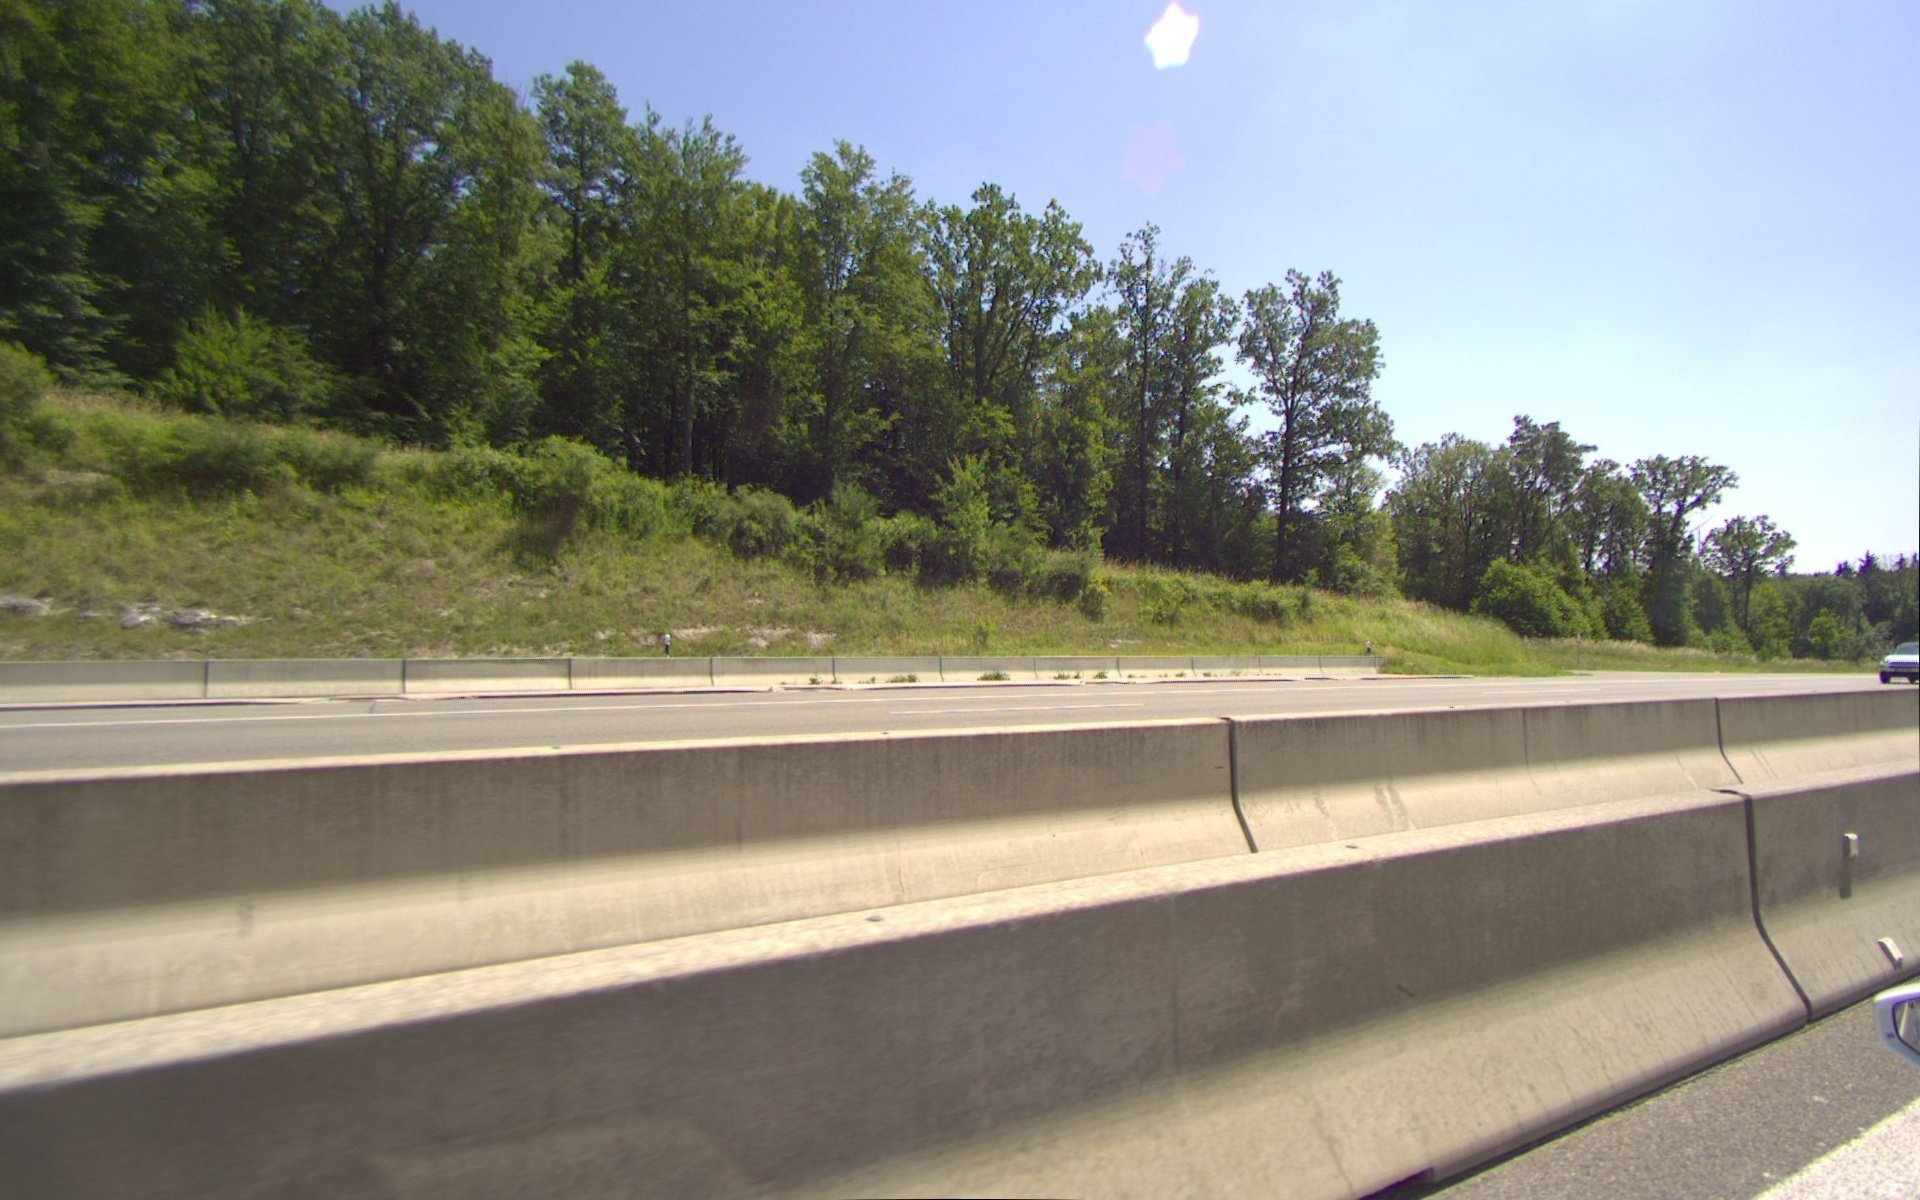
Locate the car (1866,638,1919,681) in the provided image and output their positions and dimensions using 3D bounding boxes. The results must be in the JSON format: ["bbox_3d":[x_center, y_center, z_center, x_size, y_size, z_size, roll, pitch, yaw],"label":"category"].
[{"bbox_3d":[36.929,2.280,38.682,4.370,1.582,1.737,2,-3,-30],"label":"car"}]
